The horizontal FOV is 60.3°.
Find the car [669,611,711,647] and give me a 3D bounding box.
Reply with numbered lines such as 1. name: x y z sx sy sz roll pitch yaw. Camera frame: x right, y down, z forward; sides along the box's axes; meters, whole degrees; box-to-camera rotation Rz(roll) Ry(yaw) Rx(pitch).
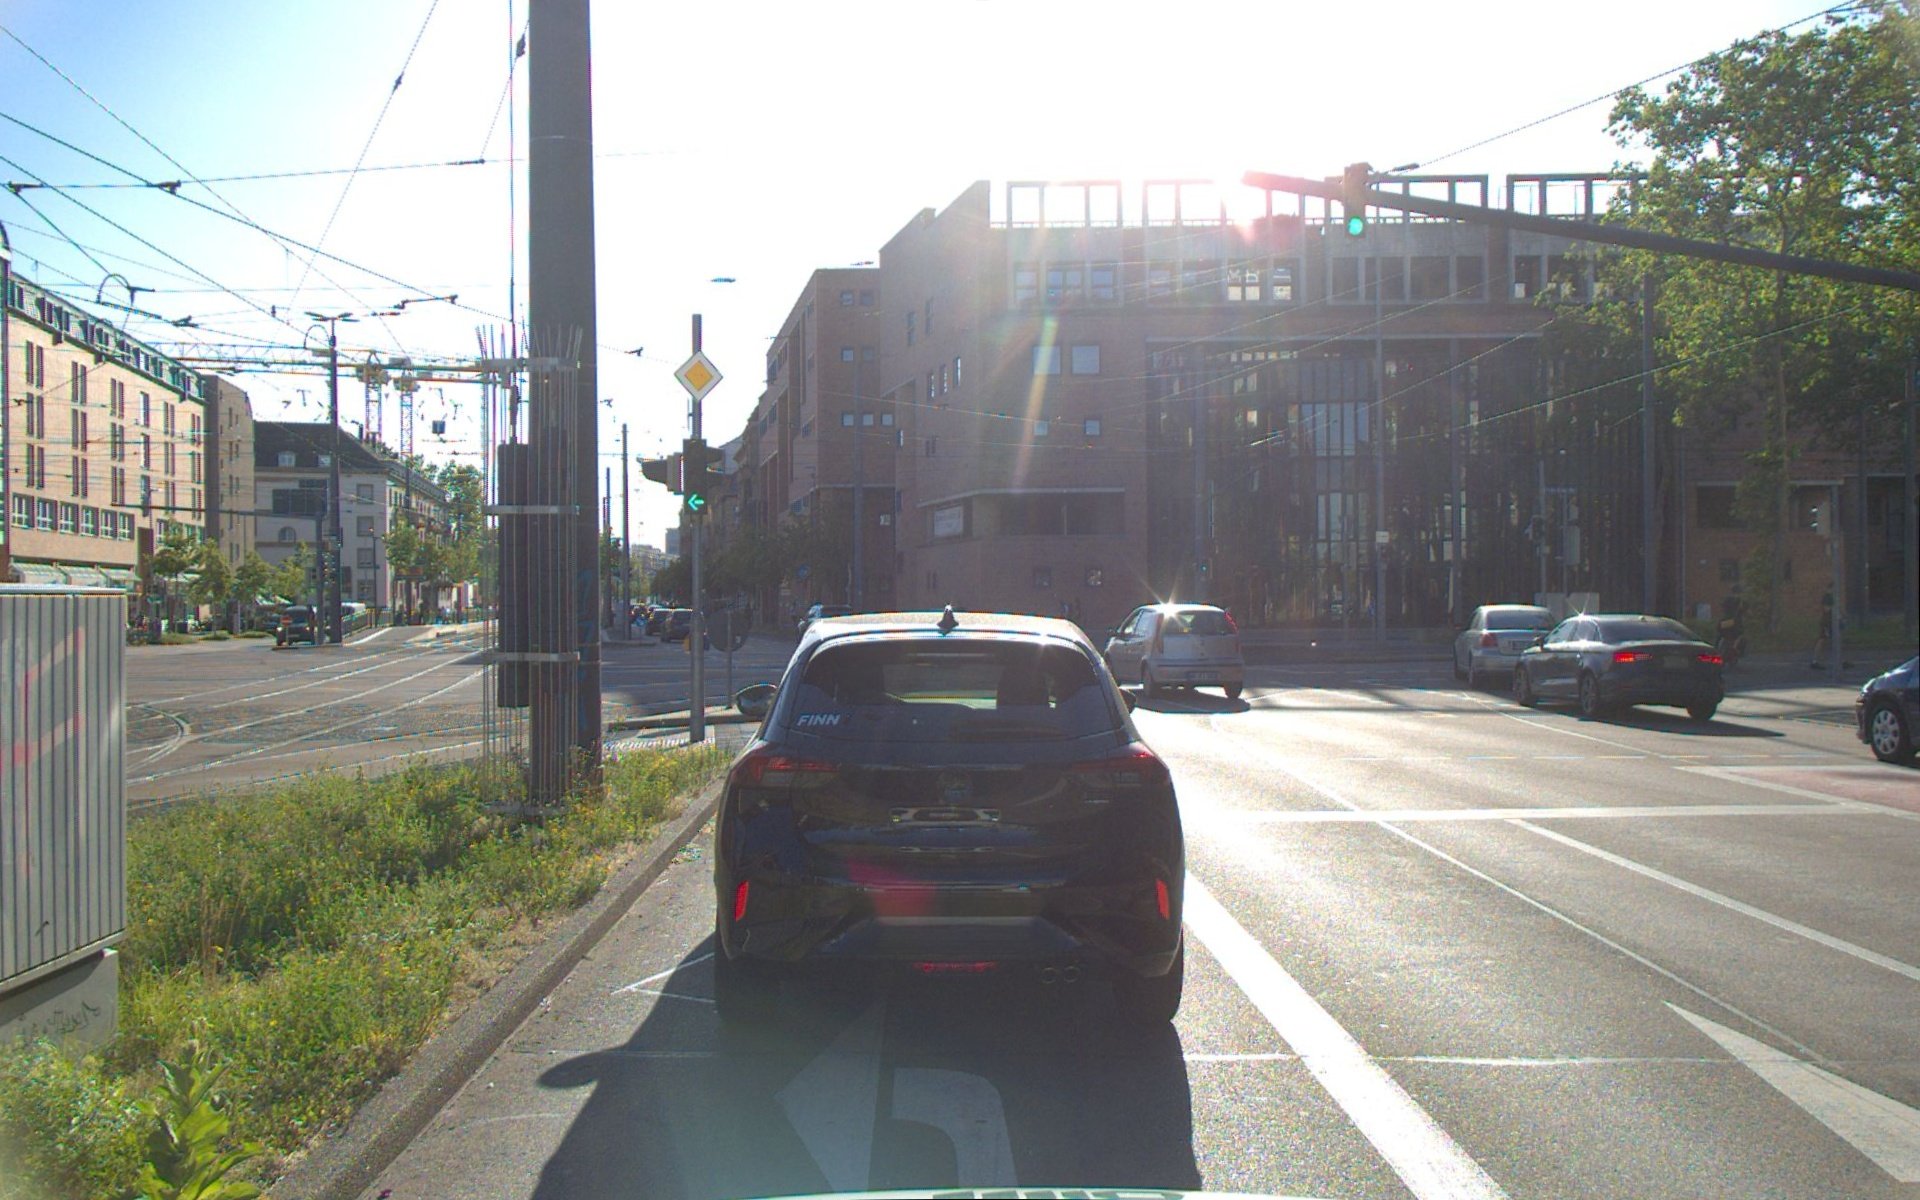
1. car: -12.108 1.272 74.034 1.690 1.479 3.687 -1 0 -11

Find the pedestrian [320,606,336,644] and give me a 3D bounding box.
1. pedestrian: -27.106 1.063 70.965 0.573 1.604 0.641 -1 0 -25

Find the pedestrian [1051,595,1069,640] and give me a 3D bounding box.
1. pedestrian: 4.063 0.707 67.211 0.563 1.817 0.546 -1 0 -20

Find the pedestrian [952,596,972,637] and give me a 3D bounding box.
1. pedestrian: 0.079 0.720 74.264 0.631 1.817 0.683 -1 0 -23

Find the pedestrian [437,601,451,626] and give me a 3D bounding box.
1. pedestrian: -35.649 0.919 114.237 0.849 1.699 0.779 0 1 -22

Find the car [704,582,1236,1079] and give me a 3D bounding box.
1. car: 0.008 0.715 6.980 1.638 1.528 3.690 1 0 -1

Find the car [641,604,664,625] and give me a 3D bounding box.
1. car: -23.431 1.104 125.942 1.489 1.479 3.572 -1 0 -13

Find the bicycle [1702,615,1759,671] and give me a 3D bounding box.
1. bicycle: 15.984 0.864 34.280 0.653 1.036 2.176 1 2 37

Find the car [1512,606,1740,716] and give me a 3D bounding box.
1. car: 9.529 0.828 24.010 1.660 1.465 4.018 0 0 0

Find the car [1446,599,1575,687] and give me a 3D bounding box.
1. car: 10.079 0.748 30.530 1.659 1.500 3.985 -1 0 10

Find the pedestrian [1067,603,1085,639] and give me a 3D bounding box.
1. pedestrian: 4.884 0.888 69.464 0.541 1.503 0.568 -1 1 -29

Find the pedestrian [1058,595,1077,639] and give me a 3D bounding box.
1. pedestrian: 4.401 0.694 67.958 0.563 1.817 0.546 -1 0 -20

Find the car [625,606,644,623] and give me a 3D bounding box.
1. car: -28.422 1.250 144.269 1.489 1.479 3.572 -1 0 -13

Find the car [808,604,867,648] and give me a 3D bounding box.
1. car: -4.381 0.896 58.846 1.641 1.479 3.687 -1 0 -11

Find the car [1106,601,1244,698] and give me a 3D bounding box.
1. car: 3.509 0.764 27.495 1.530 1.481 3.427 -1 0 -6

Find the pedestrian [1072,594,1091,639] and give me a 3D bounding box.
1. pedestrian: 5.030 0.681 68.580 0.563 1.817 0.546 -1 0 -20

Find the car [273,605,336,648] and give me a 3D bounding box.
1. car: -30.890 1.227 78.027 1.805 1.868 4.099 -2 0 -9

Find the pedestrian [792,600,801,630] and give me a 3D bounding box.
1. pedestrian: -10.103 0.920 102.252 0.537 1.817 0.572 -1 2 -9

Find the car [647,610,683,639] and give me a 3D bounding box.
1. car: -15.859 1.290 88.856 1.691 1.479 3.685 -1 0 -13

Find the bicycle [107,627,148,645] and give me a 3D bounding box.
1. bicycle: -46.588 2.005 92.527 1.992 0.937 0.483 -1 0 -2

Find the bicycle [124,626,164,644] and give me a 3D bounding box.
1. bicycle: -46.246 1.986 93.724 1.992 0.937 0.483 -1 0 -2

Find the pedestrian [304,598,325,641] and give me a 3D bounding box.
1. pedestrian: -26.758 0.802 68.572 0.708 1.757 0.593 -1 0 -11

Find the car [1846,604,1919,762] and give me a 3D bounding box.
1. car: 10.108 0.791 15.047 1.824 1.500 3.975 -1 0 -3

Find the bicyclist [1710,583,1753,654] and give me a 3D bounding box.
1. bicyclist: 15.984 0.372 34.276 0.653 1.432 0.812 1 2 37

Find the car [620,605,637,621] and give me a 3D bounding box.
1. car: -31.700 1.276 158.154 1.489 1.479 3.572 -1 0 -13

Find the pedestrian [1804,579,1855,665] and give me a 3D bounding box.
1. pedestrian: 18.096 0.464 34.442 0.774 1.764 0.587 1 -1 7
